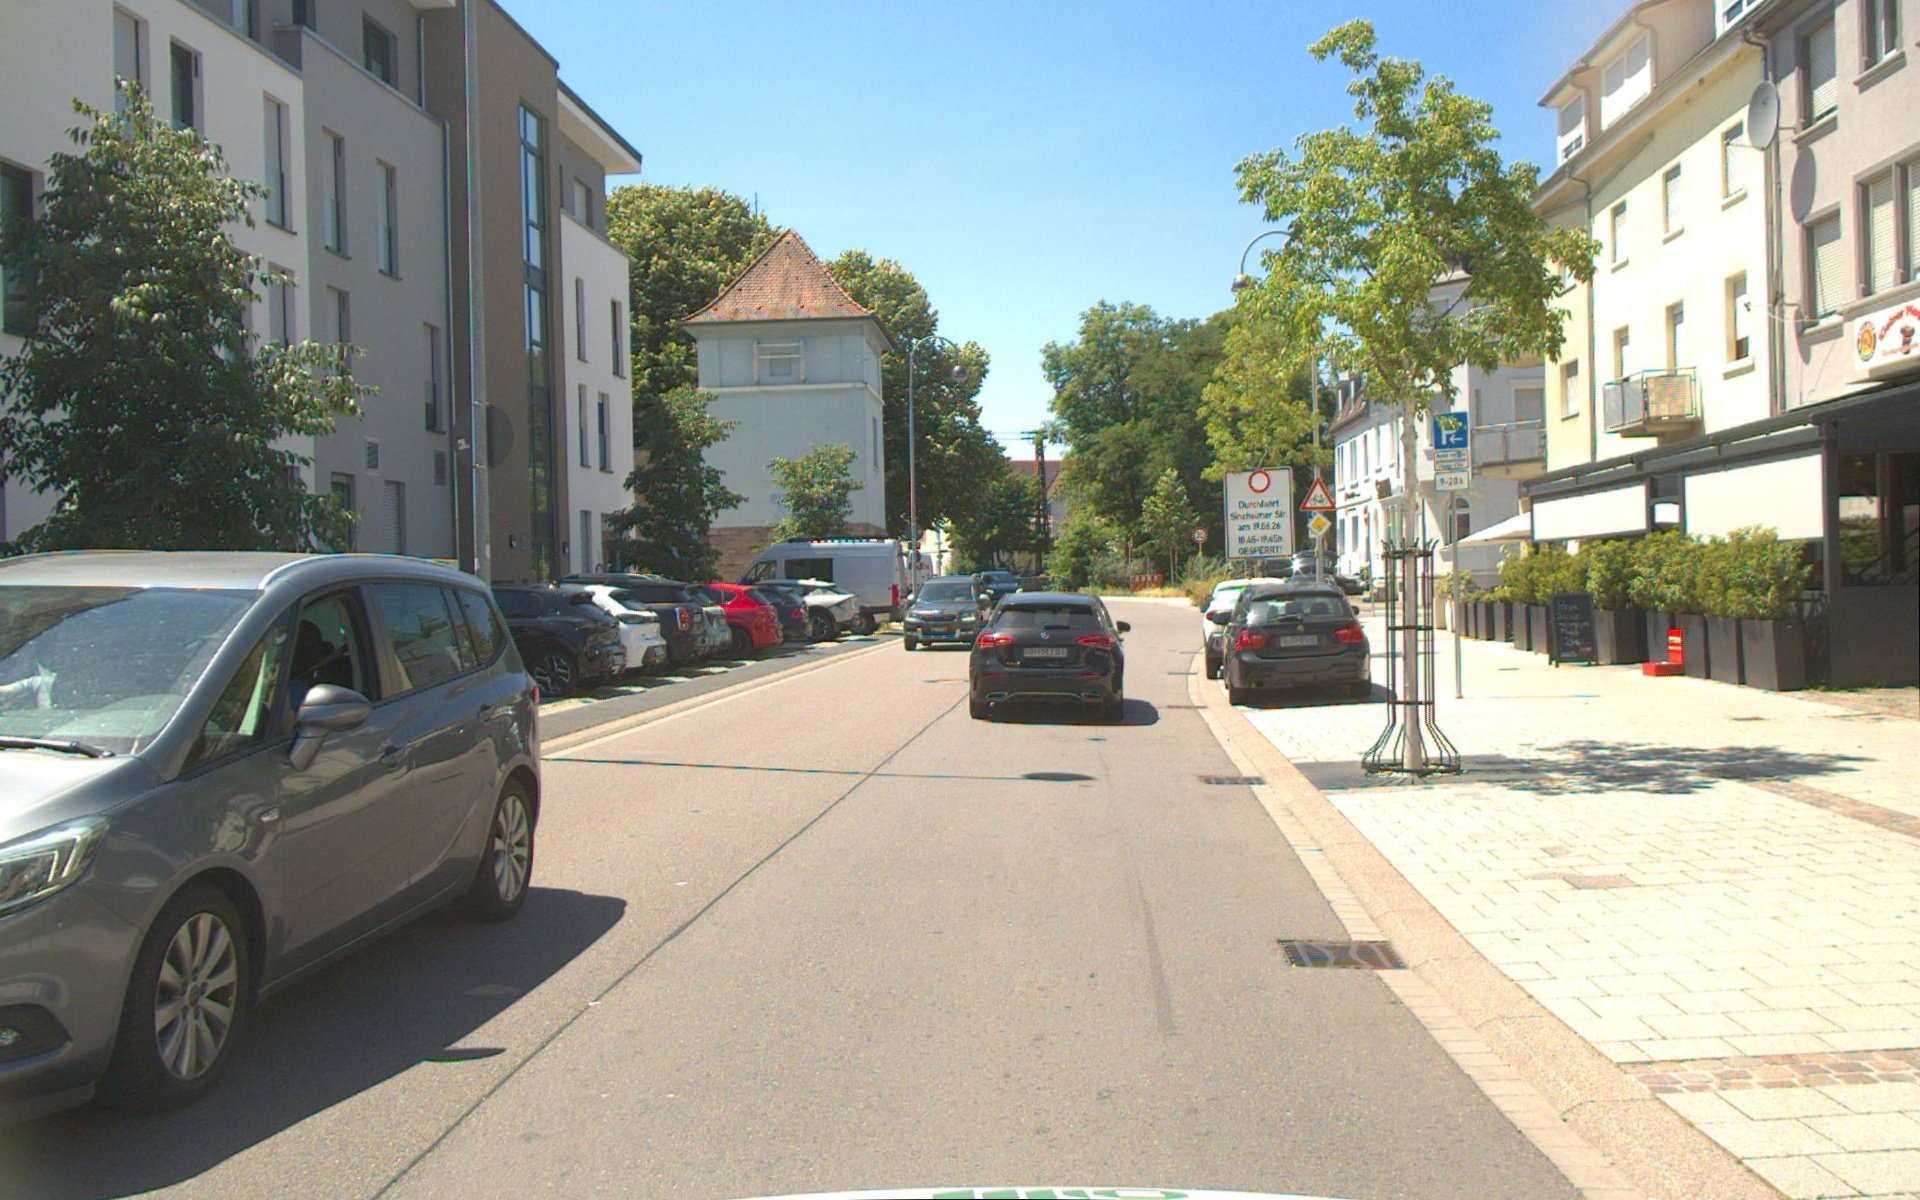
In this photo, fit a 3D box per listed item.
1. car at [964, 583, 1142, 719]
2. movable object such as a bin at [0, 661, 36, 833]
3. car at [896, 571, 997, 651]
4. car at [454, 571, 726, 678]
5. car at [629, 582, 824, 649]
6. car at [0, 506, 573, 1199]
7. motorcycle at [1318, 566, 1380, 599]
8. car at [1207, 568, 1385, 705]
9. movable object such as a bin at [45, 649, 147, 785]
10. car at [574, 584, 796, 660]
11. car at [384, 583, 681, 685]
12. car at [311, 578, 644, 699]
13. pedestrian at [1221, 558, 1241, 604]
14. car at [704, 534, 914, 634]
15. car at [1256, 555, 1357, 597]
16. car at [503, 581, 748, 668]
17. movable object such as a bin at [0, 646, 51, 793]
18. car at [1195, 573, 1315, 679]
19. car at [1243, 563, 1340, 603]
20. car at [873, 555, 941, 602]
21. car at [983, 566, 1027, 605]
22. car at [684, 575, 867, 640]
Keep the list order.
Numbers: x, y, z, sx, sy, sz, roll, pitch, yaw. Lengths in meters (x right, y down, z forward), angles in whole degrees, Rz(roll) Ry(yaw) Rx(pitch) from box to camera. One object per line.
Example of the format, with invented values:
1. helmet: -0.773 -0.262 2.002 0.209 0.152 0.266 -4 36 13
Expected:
1. car: 1.223 0.581 20.033 1.789 1.467 4.003 0 -1 9
2. movable object such as a bin: -5.988 0.889 9.971 0.473 1.015 0.588 -1 0 3
3. car: -0.245 0.228 38.382 1.772 1.731 4.079 -1 0 7
4. car: -6.069 0.378 27.428 3.946 1.680 2.002 0 0 7
5. car: -5.227 0.336 37.420 4.113 1.463 1.886 0 0 0
6. car: -3.019 0.625 6.109 1.901 1.687 4.238 0 0 4
7. motorcycle: 15.752 -0.728 67.063 2.327 1.297 0.856 -1 1 4
8. car: 4.245 0.443 21.459 1.794 1.508 4.098 -3 -1 6
9. movable object such as a bin: -6.712 0.904 12.861 0.542 1.015 0.427 -1 0 6
10. car: -5.407 0.416 32.853 3.946 1.455 2.002 0 0 7
11. car: -6.373 0.483 24.923 3.902 1.446 1.911 0 0 5
12. car: -6.526 0.486 22.669 3.903 1.541 2.002 0 2 5
13. pedestrian: 10.991 -0.788 67.038 0.730 1.827 0.844 -1 2 12
14. car: -4.258 -0.461 47.367 5.645 2.780 2.293 0 0 6
15. car: 14.815 -1.019 70.798 3.990 1.746 1.857 0 0 3
16. car: -6.060 0.414 30.251 3.946 1.523 2.002 0 0 7
17. movable object such as a bin: -7.120 0.872 12.162 0.542 1.038 0.560 -1 0 0
18. car: 4.836 0.379 27.146 1.700 1.511 4.058 -4 0 10
19. car: 14.599 -0.752 72.948 3.990 1.746 1.857 0 0 3
20. car: -3.200 -1.255 99.083 2.101 2.675 5.234 -2 0 -25
21. car: 1.927 -0.664 72.192 1.854 1.580 4.800 1 1 1
22. car: -4.702 0.182 42.546 4.359 1.619 2.001 0 0 5
